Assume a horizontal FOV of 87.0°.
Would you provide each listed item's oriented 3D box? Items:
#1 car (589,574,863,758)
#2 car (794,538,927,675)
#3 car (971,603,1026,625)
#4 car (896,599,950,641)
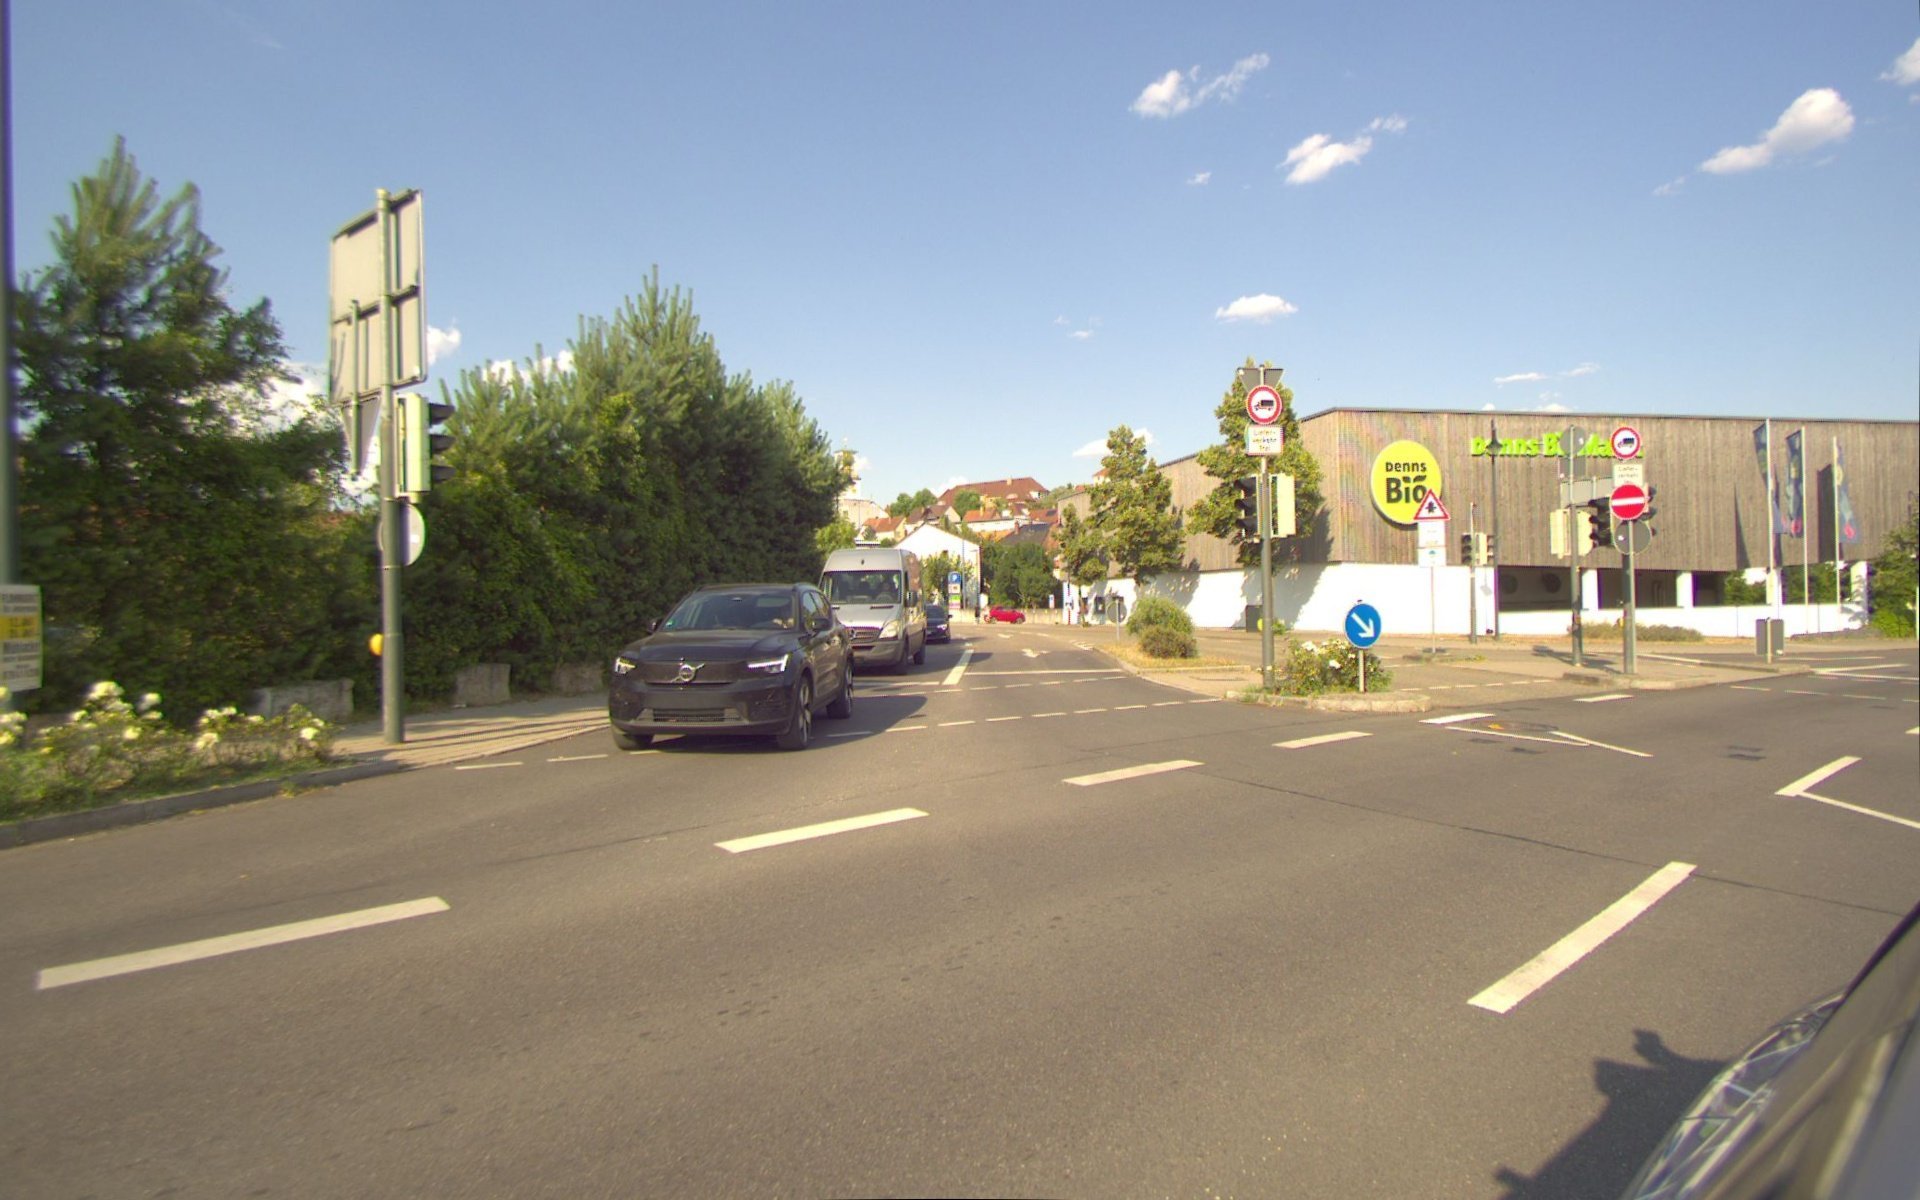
[{"bbox_3d":[-2.244,0.549,10.932,1.760,1.586,4.267,0,0,3],"label":"car"},{"bbox_3d":[-1.961,0.092,21.912,2.154,2.553,5.857,0,0,2],"label":"car"},{"bbox_3d":[3.230,1.153,84.738,4.225,1.745,1.899,0,0,-13],"label":"car"},{"bbox_3d":[-1.437,0.704,37.762,1.821,1.471,4.004,0,0,-5],"label":"car"}]
